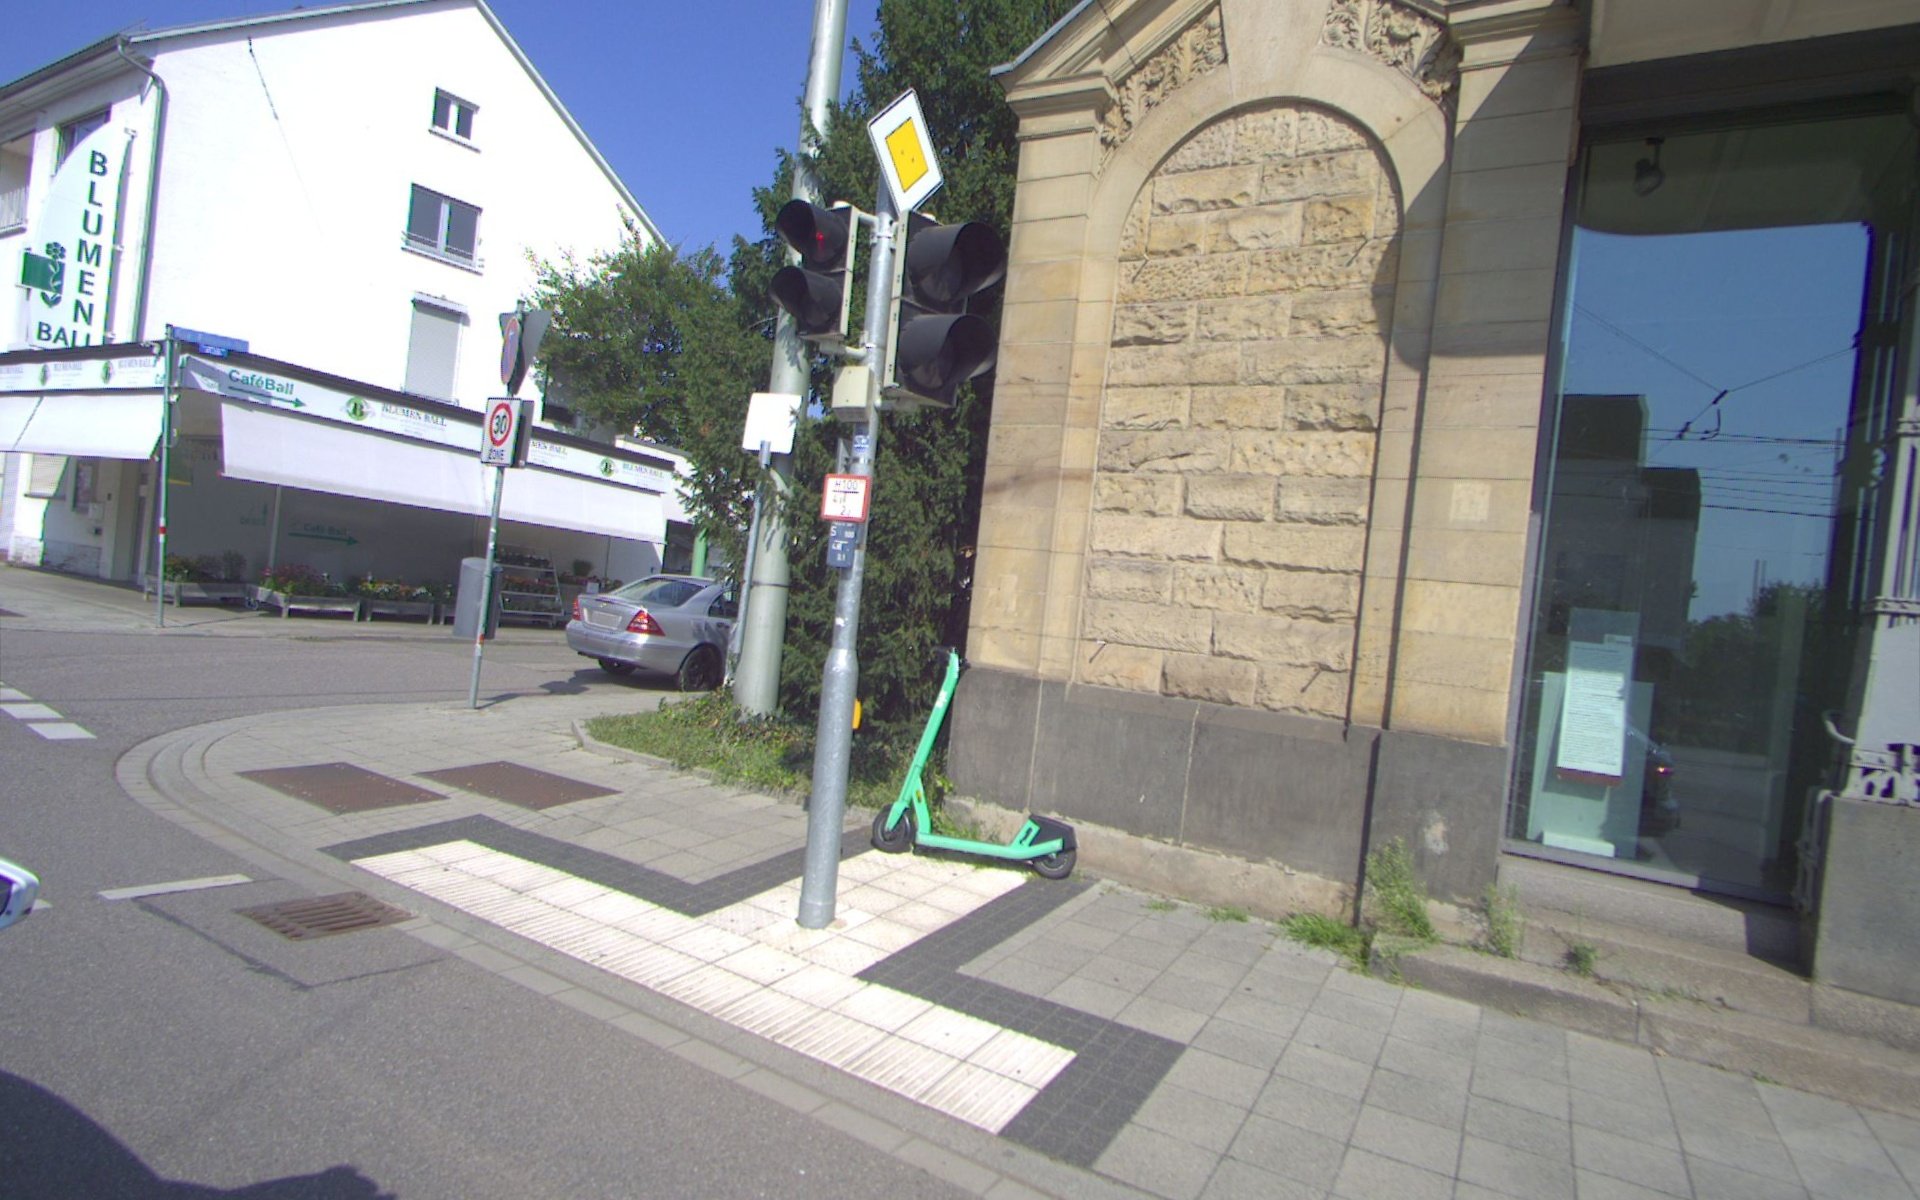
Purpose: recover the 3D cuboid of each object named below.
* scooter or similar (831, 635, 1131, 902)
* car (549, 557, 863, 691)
[{"bbox_3d":[0.086,0.842,5.476,1.486,1.148,0.523,6,2,31],"label":"scooter or similar"},{"bbox_3d":[-3.295,0.381,13.899,1.634,1.428,4.183,7,1,30],"label":"car"}]
